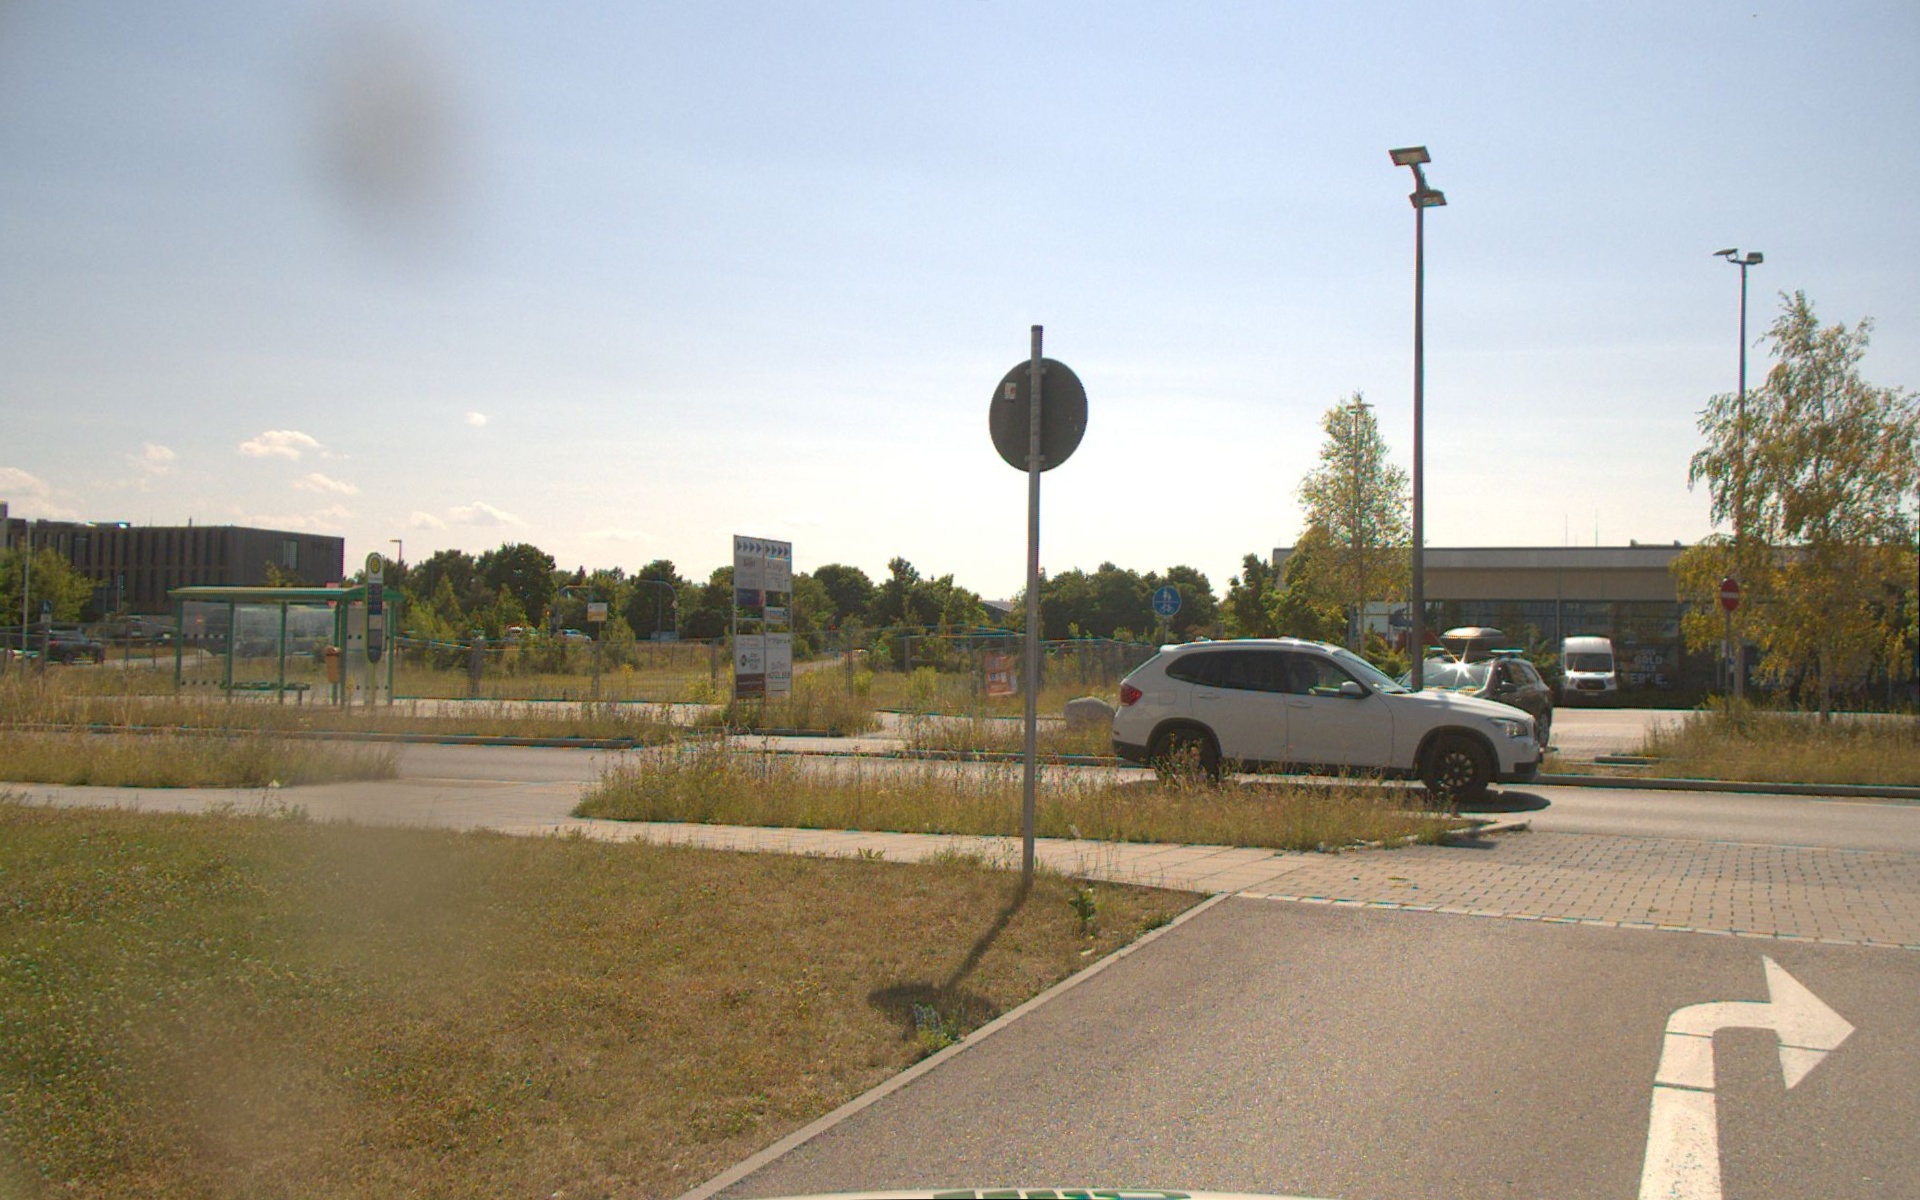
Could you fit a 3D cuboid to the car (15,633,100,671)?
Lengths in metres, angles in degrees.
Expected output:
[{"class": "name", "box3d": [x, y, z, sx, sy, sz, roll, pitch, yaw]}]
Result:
[{"class": "car", "box3d": [-47.012, 2.727, 86.221, 1.783, 1.892, 4.002, 1, -2, 8]}]

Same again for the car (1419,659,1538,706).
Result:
[{"class": "car", "box3d": [17.558, 2.783, 56.043, 3.752, 1.448, 1.772, 1, -2, 18]}]

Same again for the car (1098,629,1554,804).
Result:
[{"class": "car", "box3d": [3.845, 1.160, 17.331, 4.461, 1.578, 1.741, 1, -2, 20]}]

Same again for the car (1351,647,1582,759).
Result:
[{"class": "car", "box3d": [7.912, 1.567, 25.595, 1.963, 1.543, 4.174, 0, -3, 40]}]

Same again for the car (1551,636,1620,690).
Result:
[{"class": "car", "box3d": [24.731, 2.490, 65.610, 2.175, 2.012, 6.698, 0, -2, 18]}]

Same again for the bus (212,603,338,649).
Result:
[{"class": "bus", "box3d": [-44.504, 1.733, 107.937, 2.518, 2.783, 11.574, 1, -1, 5]}]
